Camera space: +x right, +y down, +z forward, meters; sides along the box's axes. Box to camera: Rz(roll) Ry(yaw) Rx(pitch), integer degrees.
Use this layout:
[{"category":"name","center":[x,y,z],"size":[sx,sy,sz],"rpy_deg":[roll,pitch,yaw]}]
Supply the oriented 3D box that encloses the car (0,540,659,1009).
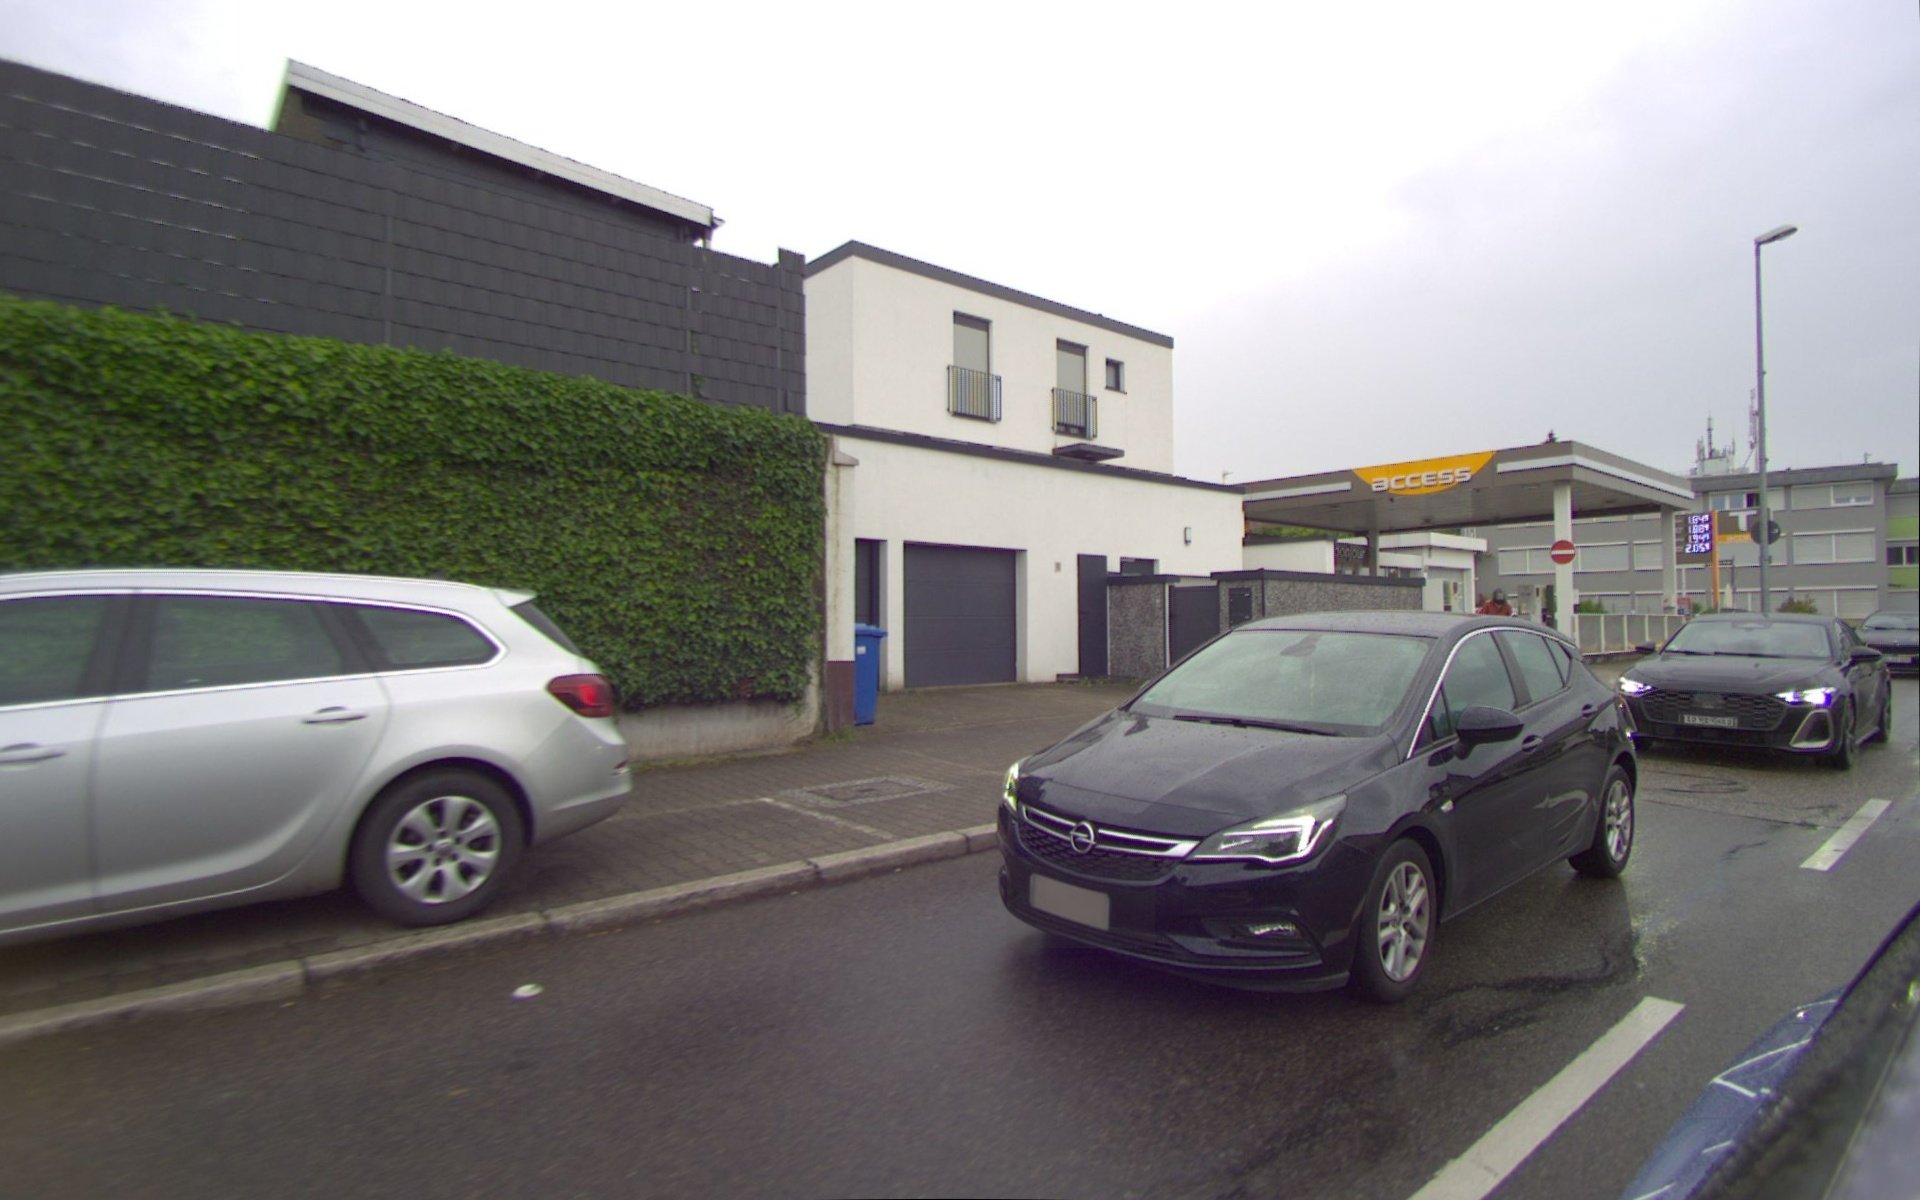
[{"category":"car","center":[-3.661,0.579,3.990],"size":[4.455,1.529,1.703],"rpy_deg":[0,-1,-41]}]

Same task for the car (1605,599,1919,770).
[{"category":"car","center":[8.738,0.725,10.861],"size":[4.657,1.442,1.869],"rpy_deg":[0,-1,-42]}]

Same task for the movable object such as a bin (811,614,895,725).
[{"category":"movable object such as a bin","center":[-1.156,0.729,10.918],"size":[0.655,1.119,0.596],"rpy_deg":[1,1,-41]}]

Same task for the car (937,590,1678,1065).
[{"category":"car","center":[1.962,0.708,5.095],"size":[3.929,1.468,1.759],"rpy_deg":[0,-1,-40]}]

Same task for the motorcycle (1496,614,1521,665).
[{"category":"motorcycle","center":[12.131,0.864,22.385],"size":[0.459,1.069,1.376],"rpy_deg":[-1,-1,28]}]

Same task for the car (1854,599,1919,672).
[{"category":"car","center":[21.768,0.745,22.806],"size":[3.930,1.538,1.871],"rpy_deg":[0,-1,-40]}]

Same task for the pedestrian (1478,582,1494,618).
[{"category":"pedestrian","center":[29.875,0.009,57.488],"size":[0.713,2.039,0.606],"rpy_deg":[-1,-1,37]}]

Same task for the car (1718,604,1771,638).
[{"category":"car","center":[39.924,1.018,51.468],"size":[1.808,1.546,3.940],"rpy_deg":[4,2,41]}]

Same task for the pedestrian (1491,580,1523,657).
[{"category":"pedestrian","center":[12.203,0.413,22.587],"size":[0.606,1.677,0.580],"rpy_deg":[-1,-1,28]}]
